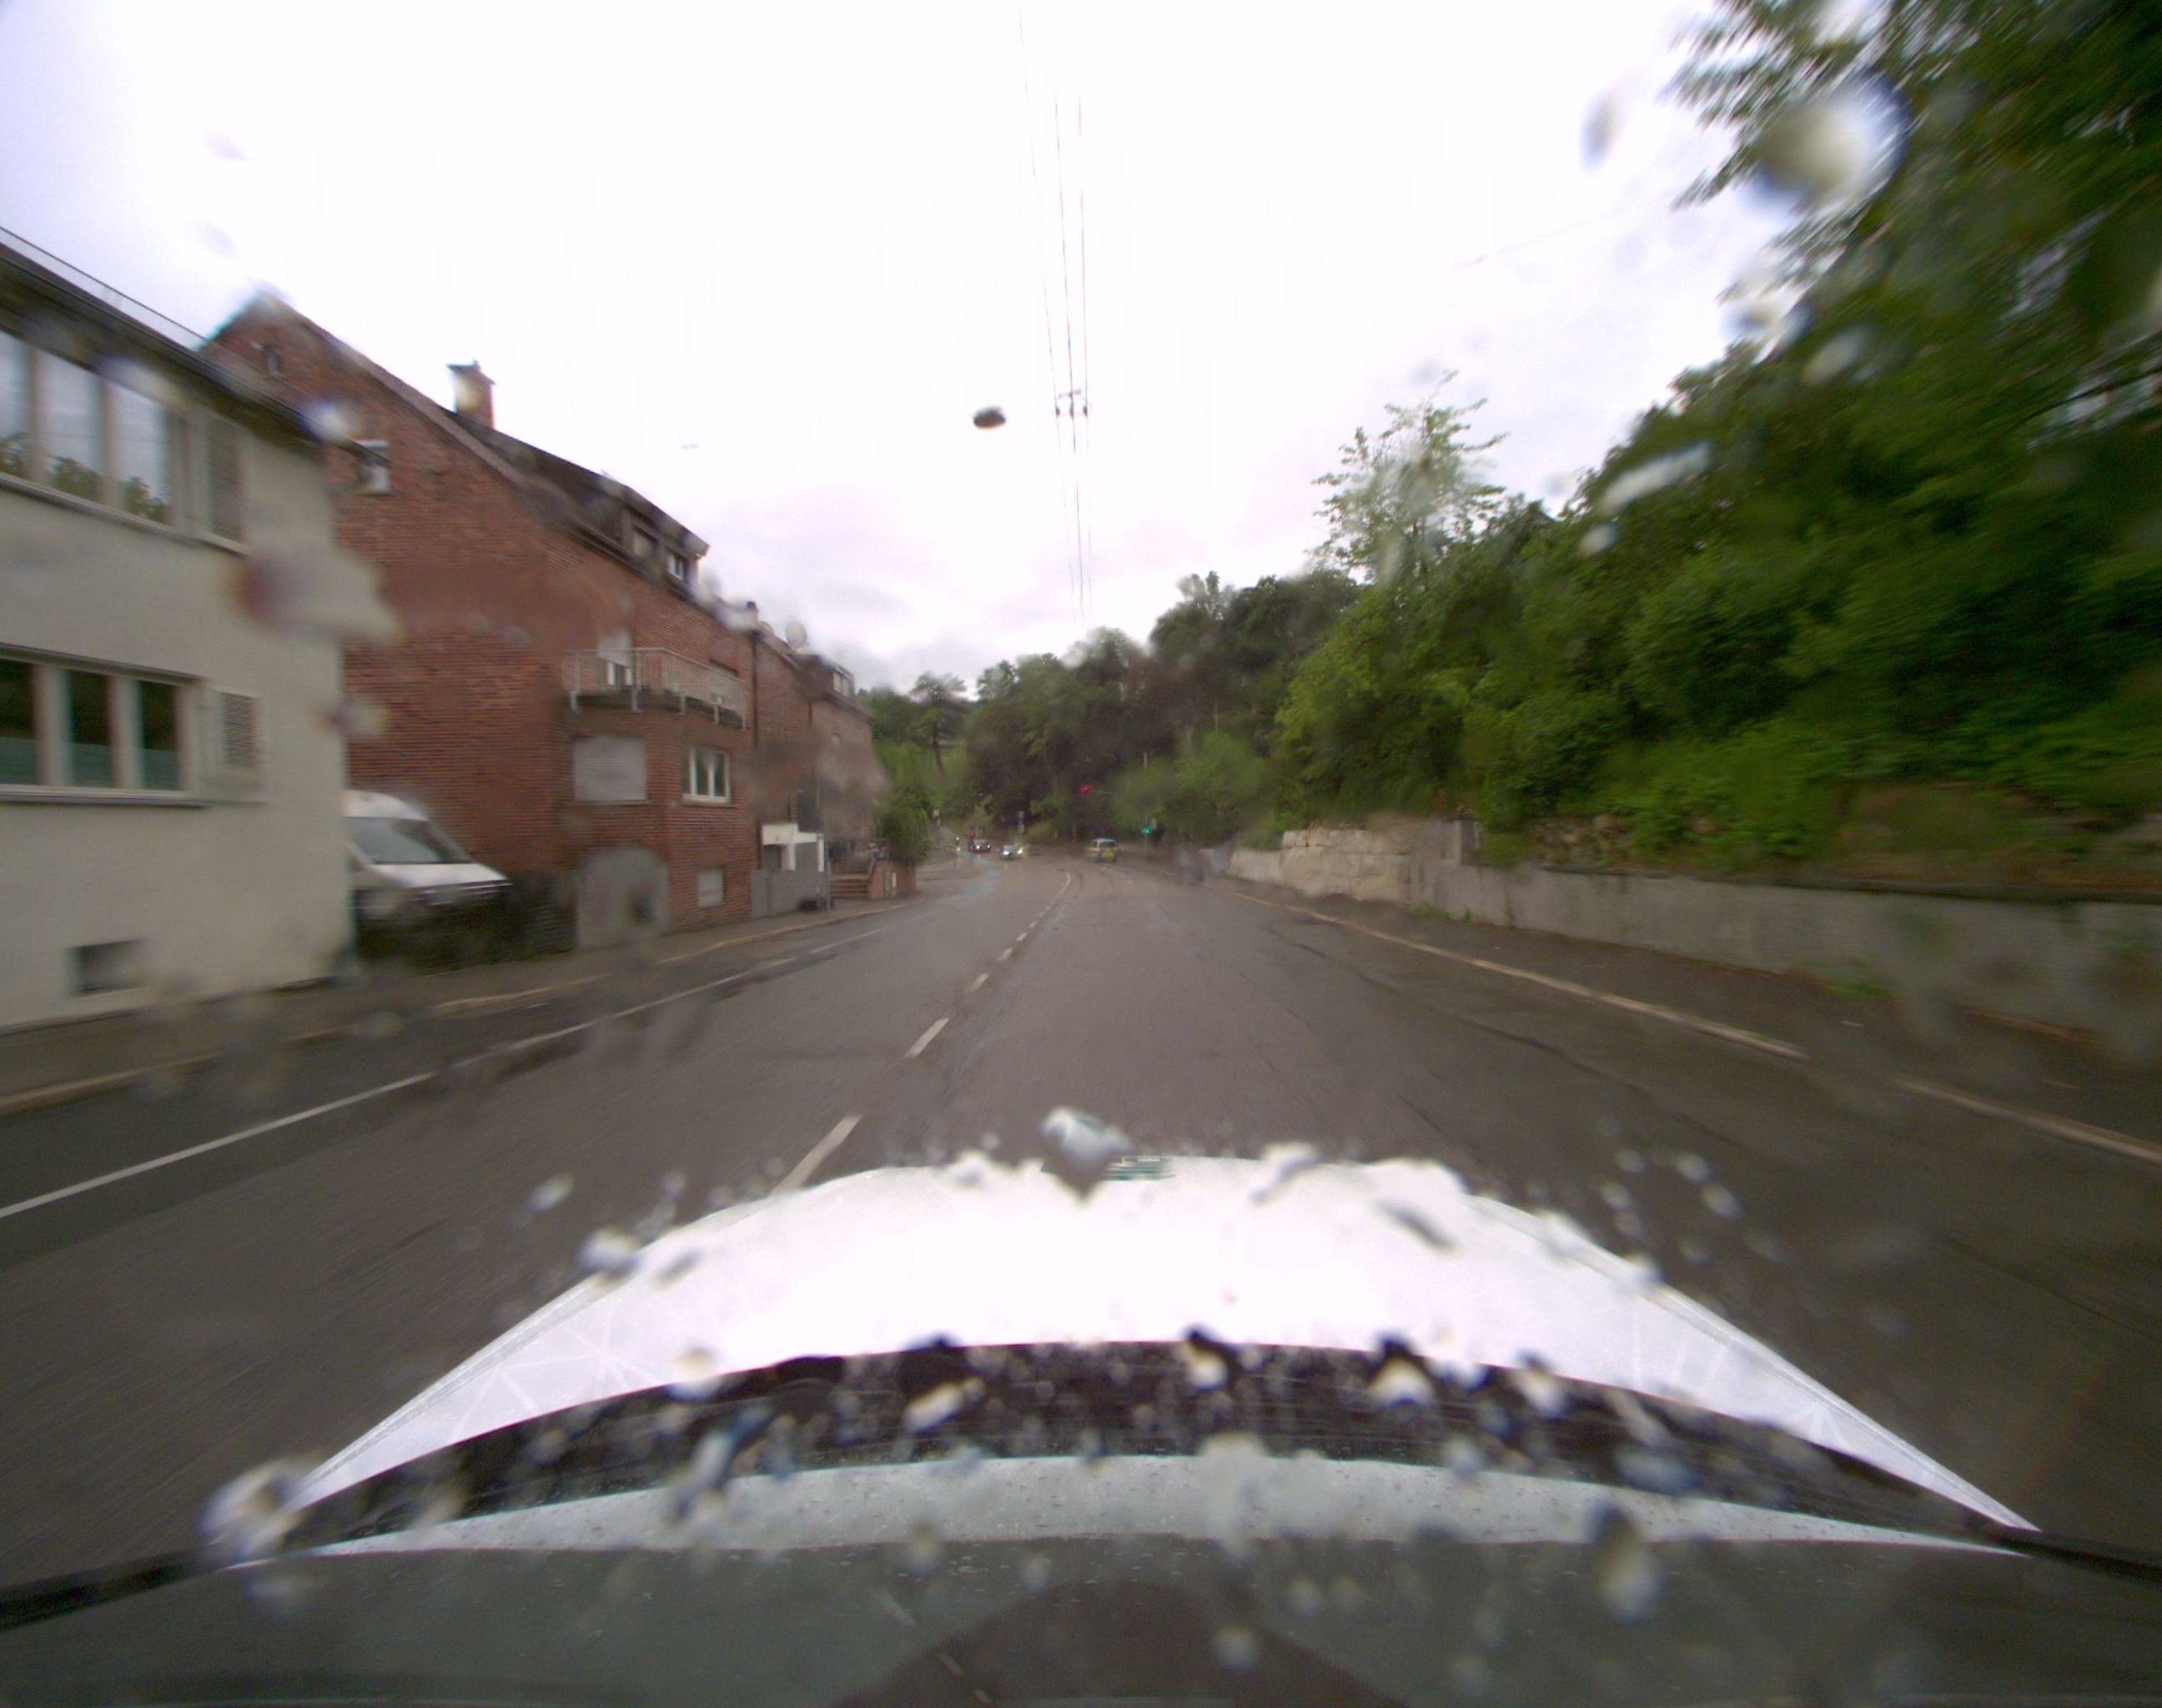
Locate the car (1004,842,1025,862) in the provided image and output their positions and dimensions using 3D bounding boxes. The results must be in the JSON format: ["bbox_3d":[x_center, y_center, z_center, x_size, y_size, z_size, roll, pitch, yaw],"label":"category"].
[{"bbox_3d":[-6.498,-0.245,79.524,1.740,1.549,3.992,-5,5,-7],"label":"car"}]

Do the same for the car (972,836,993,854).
[{"bbox_3d":[-11.172,-1.009,92.190,1.743,1.549,3.985,-6,7,-12],"label":"car"}]

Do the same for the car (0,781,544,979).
[{"bbox_3d":[-11.933,0.381,11.975,6.630,2.554,2.168,-1,-2,1],"label":"car"}]

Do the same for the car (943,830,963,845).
[{"bbox_3d":[-16.414,-2.142,104.234,1.746,1.549,3.977,-5,7,-19],"label":"car"}]

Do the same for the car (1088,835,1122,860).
[{"bbox_3d":[2.070,-0.580,71.648,2.306,1.939,4.316,-4,2,-6],"label":"car"}]
